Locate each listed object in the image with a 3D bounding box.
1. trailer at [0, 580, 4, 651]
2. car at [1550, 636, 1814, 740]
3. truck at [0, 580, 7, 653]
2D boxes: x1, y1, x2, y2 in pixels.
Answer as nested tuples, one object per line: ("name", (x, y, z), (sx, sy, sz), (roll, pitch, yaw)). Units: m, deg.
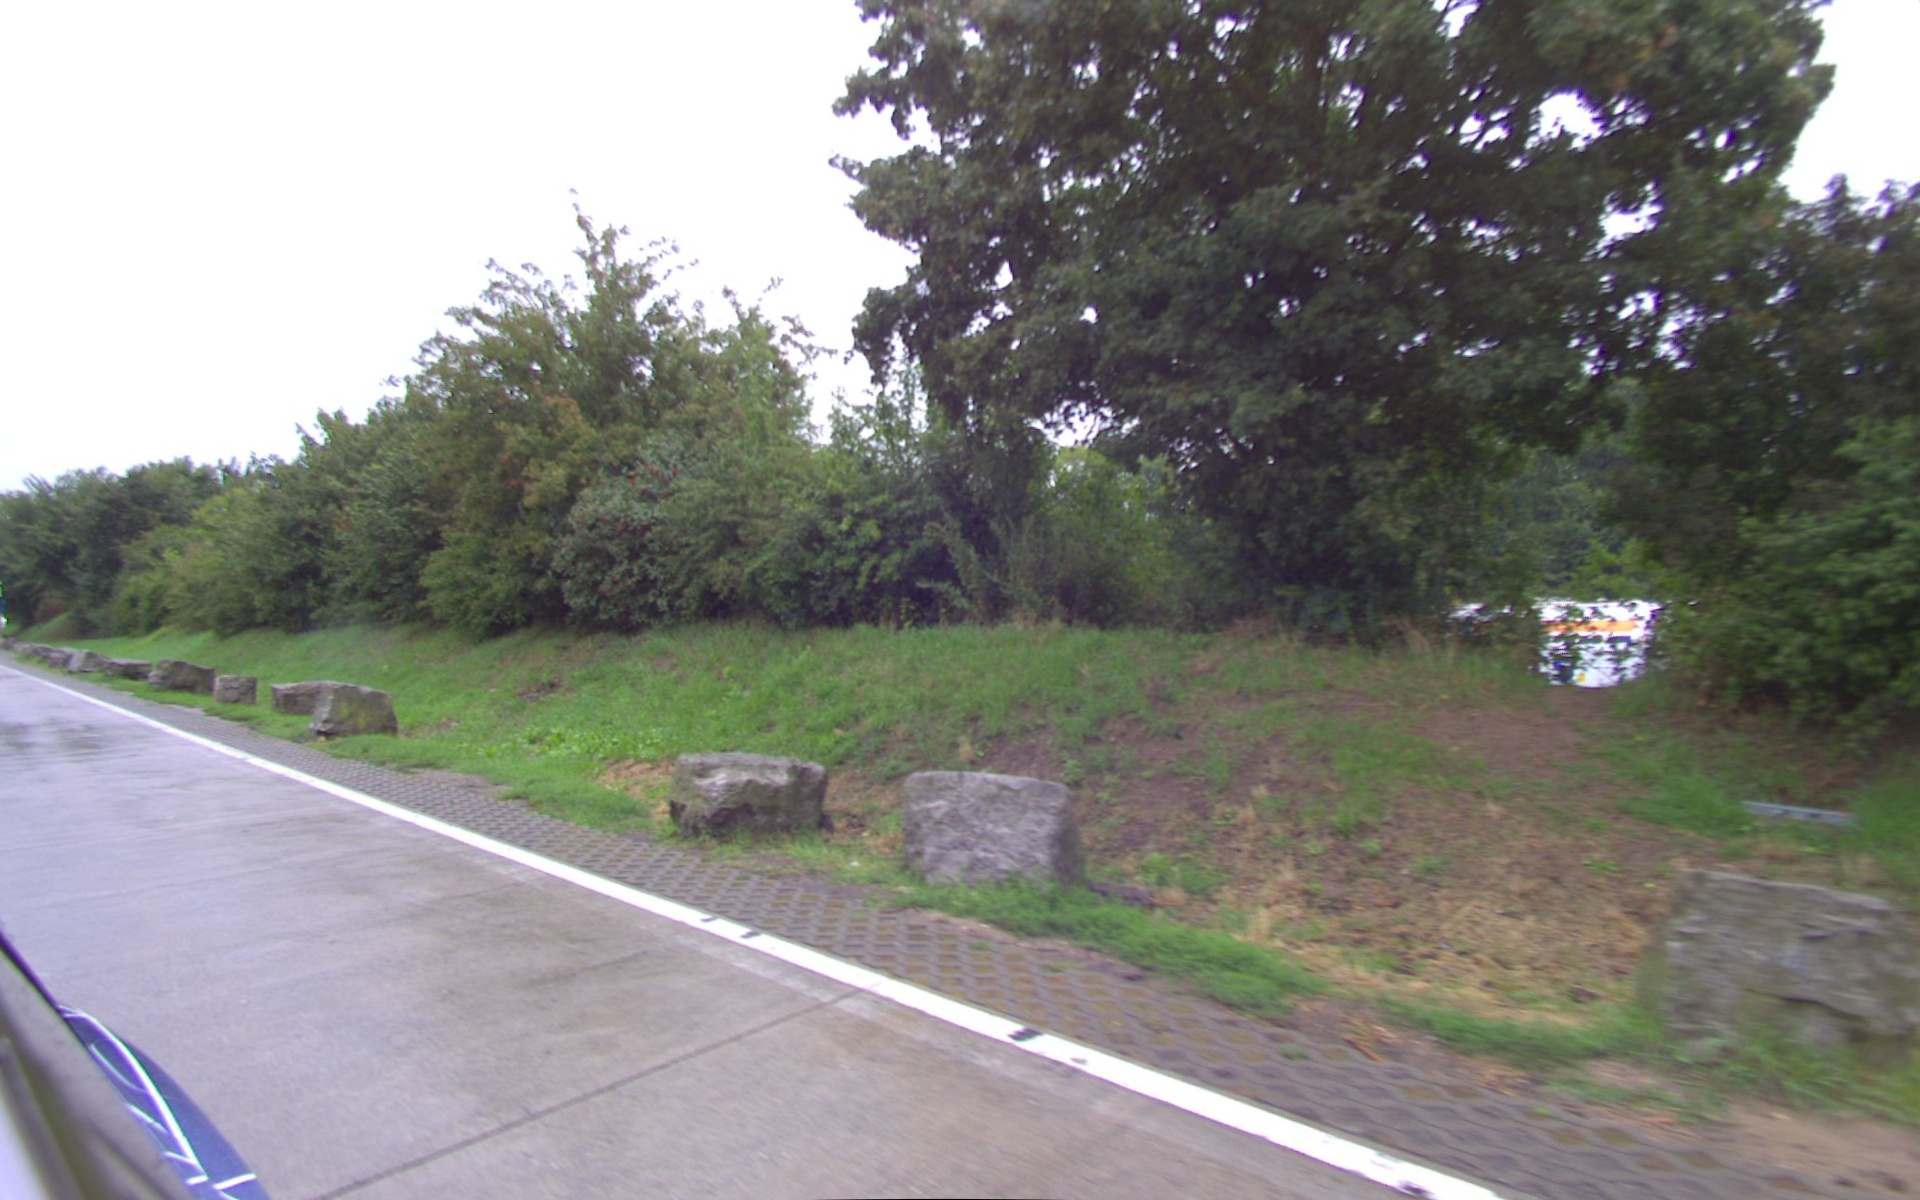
("trailer", (-66.084, 1.039, 66.876), (13.766, 4.420, 3.200), (-1, -3, 43))
("car", (13.866, 1.601, 19.555), (3.998, 1.752, 1.815), (-1, -3, 41))
("truck", (-61.318, 1.005, 62.373), (6.314, 4.420, 3.200), (-1, -3, 43))
